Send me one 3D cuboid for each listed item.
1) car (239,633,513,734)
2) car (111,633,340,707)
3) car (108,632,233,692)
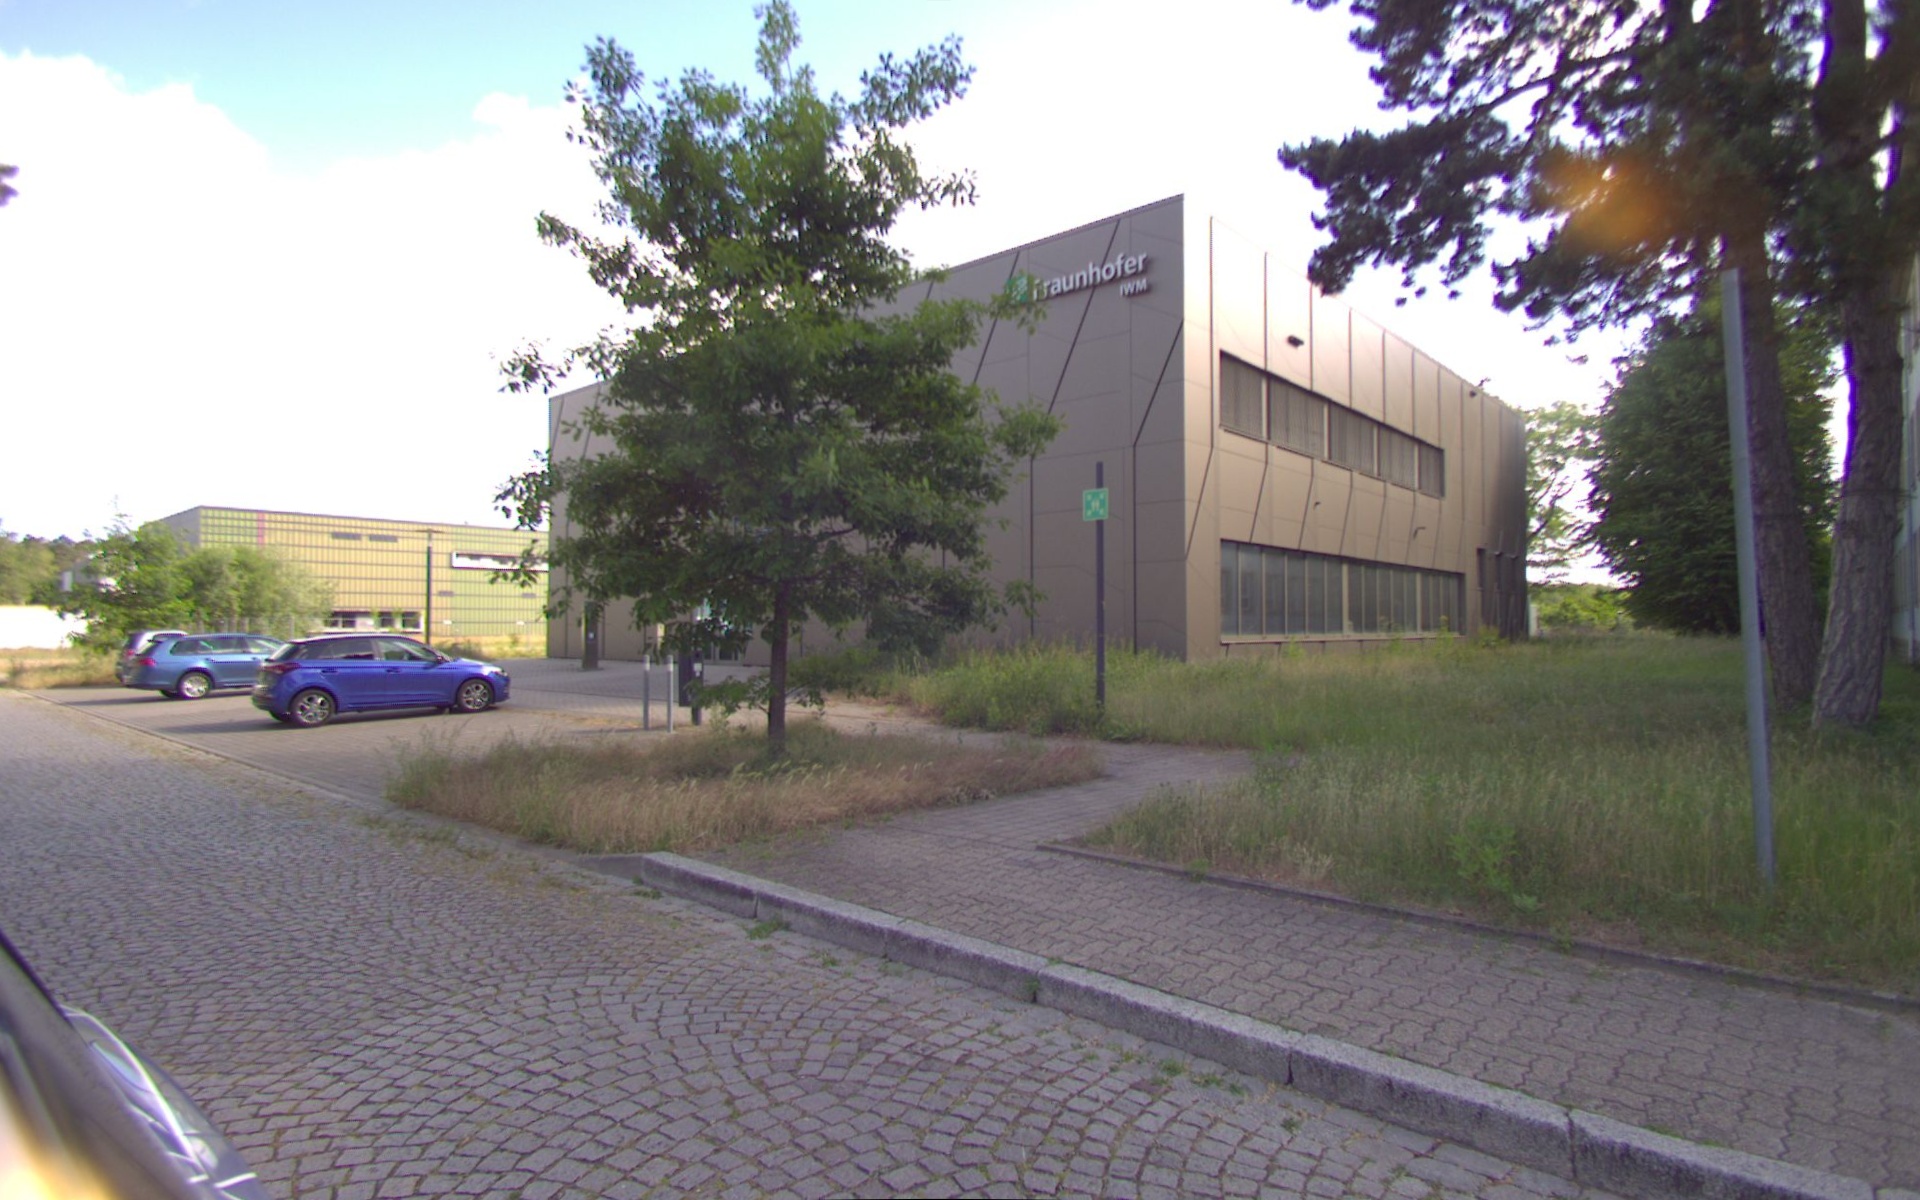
[{"bbox_3d":[-10.224,1.375,17.897,1.735,1.479,3.865,-2,-1,44],"label":"car"},{"bbox_3d":[-17.376,1.597,24.102,1.733,1.485,4.127,-2,-1,39],"label":"car"},{"bbox_3d":[-22.726,1.738,29.175,1.480,1.580,2.619,-2,-1,40],"label":"car"}]
